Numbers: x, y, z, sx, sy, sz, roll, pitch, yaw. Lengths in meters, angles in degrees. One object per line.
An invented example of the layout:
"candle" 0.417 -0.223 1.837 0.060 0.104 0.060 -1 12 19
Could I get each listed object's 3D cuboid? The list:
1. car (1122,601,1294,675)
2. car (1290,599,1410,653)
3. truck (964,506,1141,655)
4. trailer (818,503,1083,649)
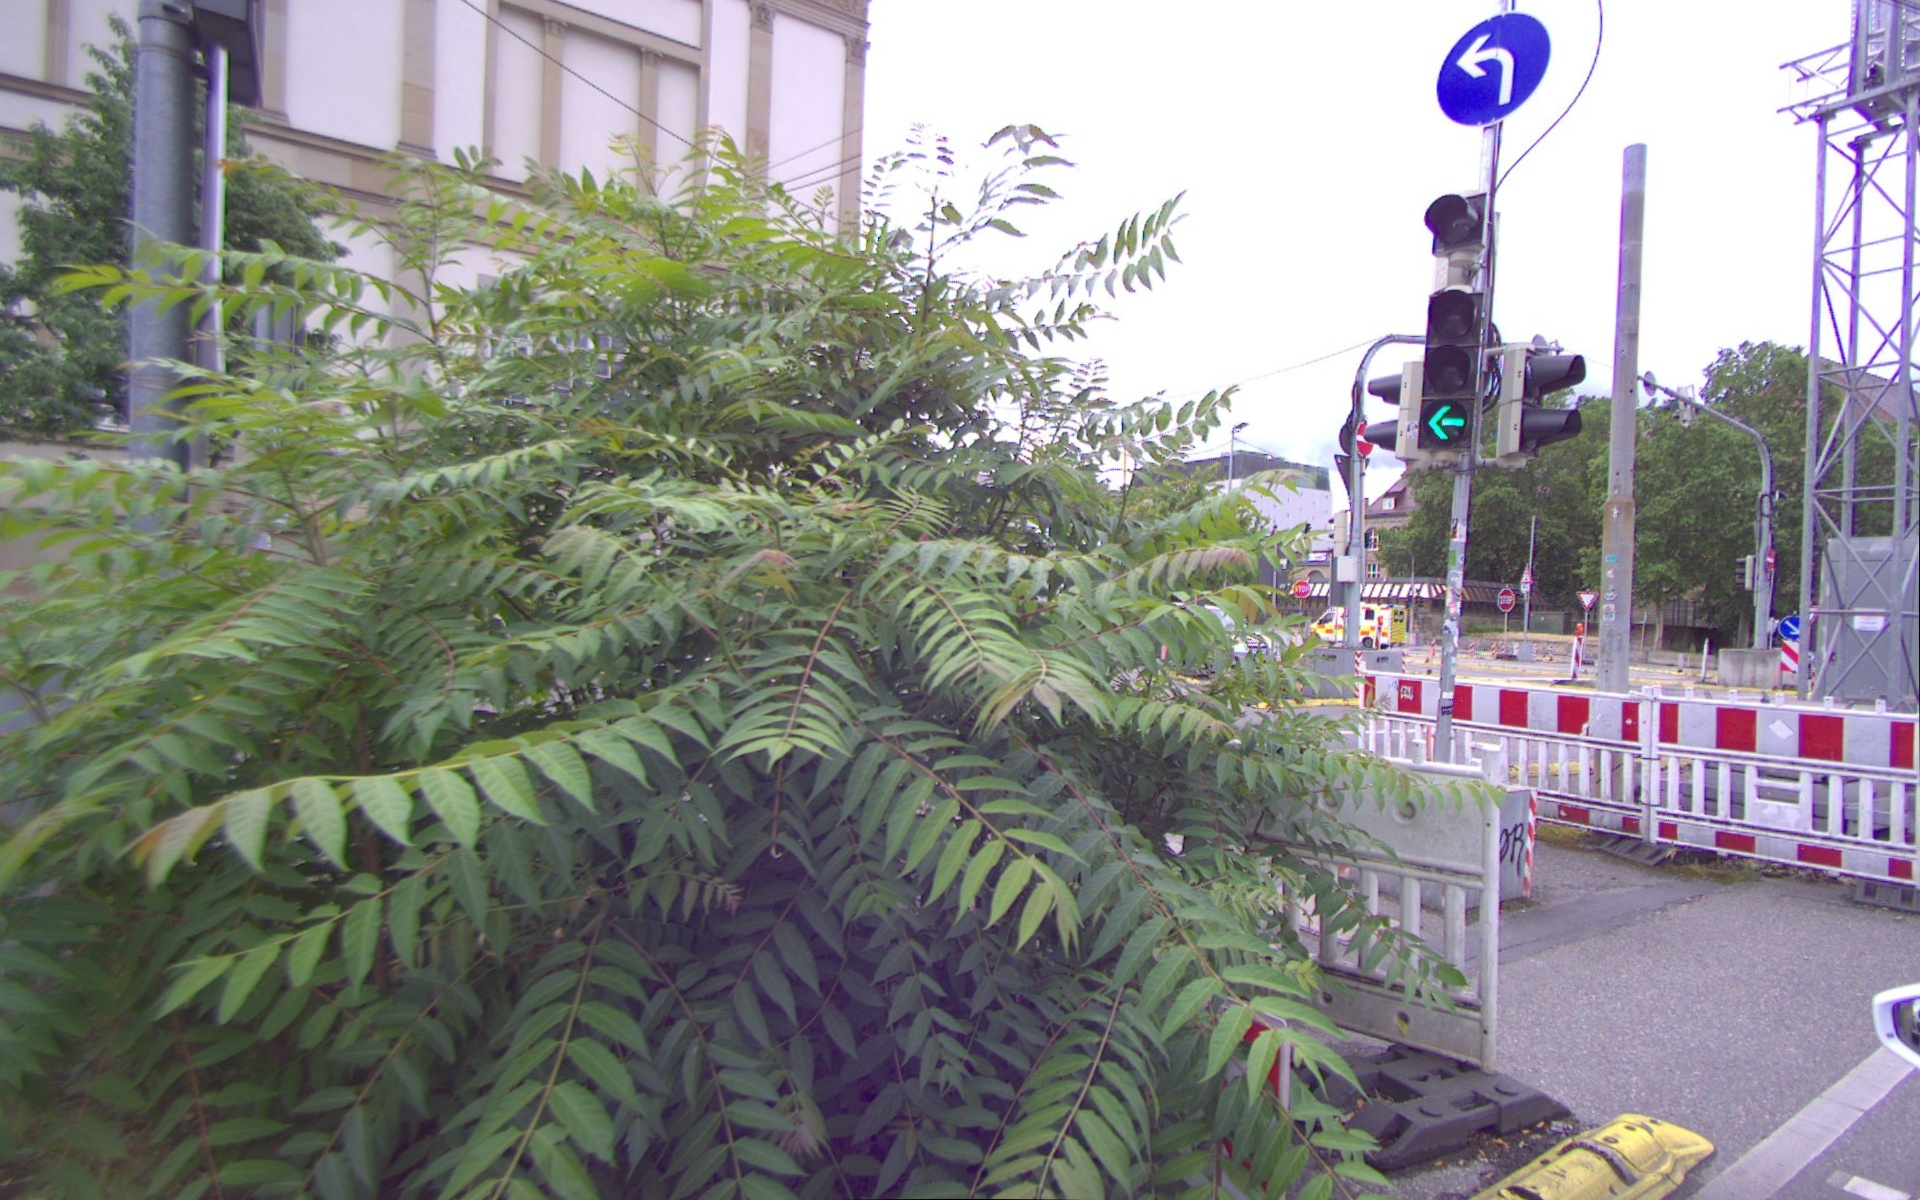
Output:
"car" 6.009 0.892 24.785 1.809 1.646 4.034 3 -1 -30
"car" 24.260 1.571 62.814 2.350 3.092 6.688 3 -1 -37
"truck" 2.707 -0.517 30.611 2.914 4.117 4.848 3 -1 -32
"trailer" -1.003 -0.727 36.632 2.915 4.338 13.669 3 -1 -32
